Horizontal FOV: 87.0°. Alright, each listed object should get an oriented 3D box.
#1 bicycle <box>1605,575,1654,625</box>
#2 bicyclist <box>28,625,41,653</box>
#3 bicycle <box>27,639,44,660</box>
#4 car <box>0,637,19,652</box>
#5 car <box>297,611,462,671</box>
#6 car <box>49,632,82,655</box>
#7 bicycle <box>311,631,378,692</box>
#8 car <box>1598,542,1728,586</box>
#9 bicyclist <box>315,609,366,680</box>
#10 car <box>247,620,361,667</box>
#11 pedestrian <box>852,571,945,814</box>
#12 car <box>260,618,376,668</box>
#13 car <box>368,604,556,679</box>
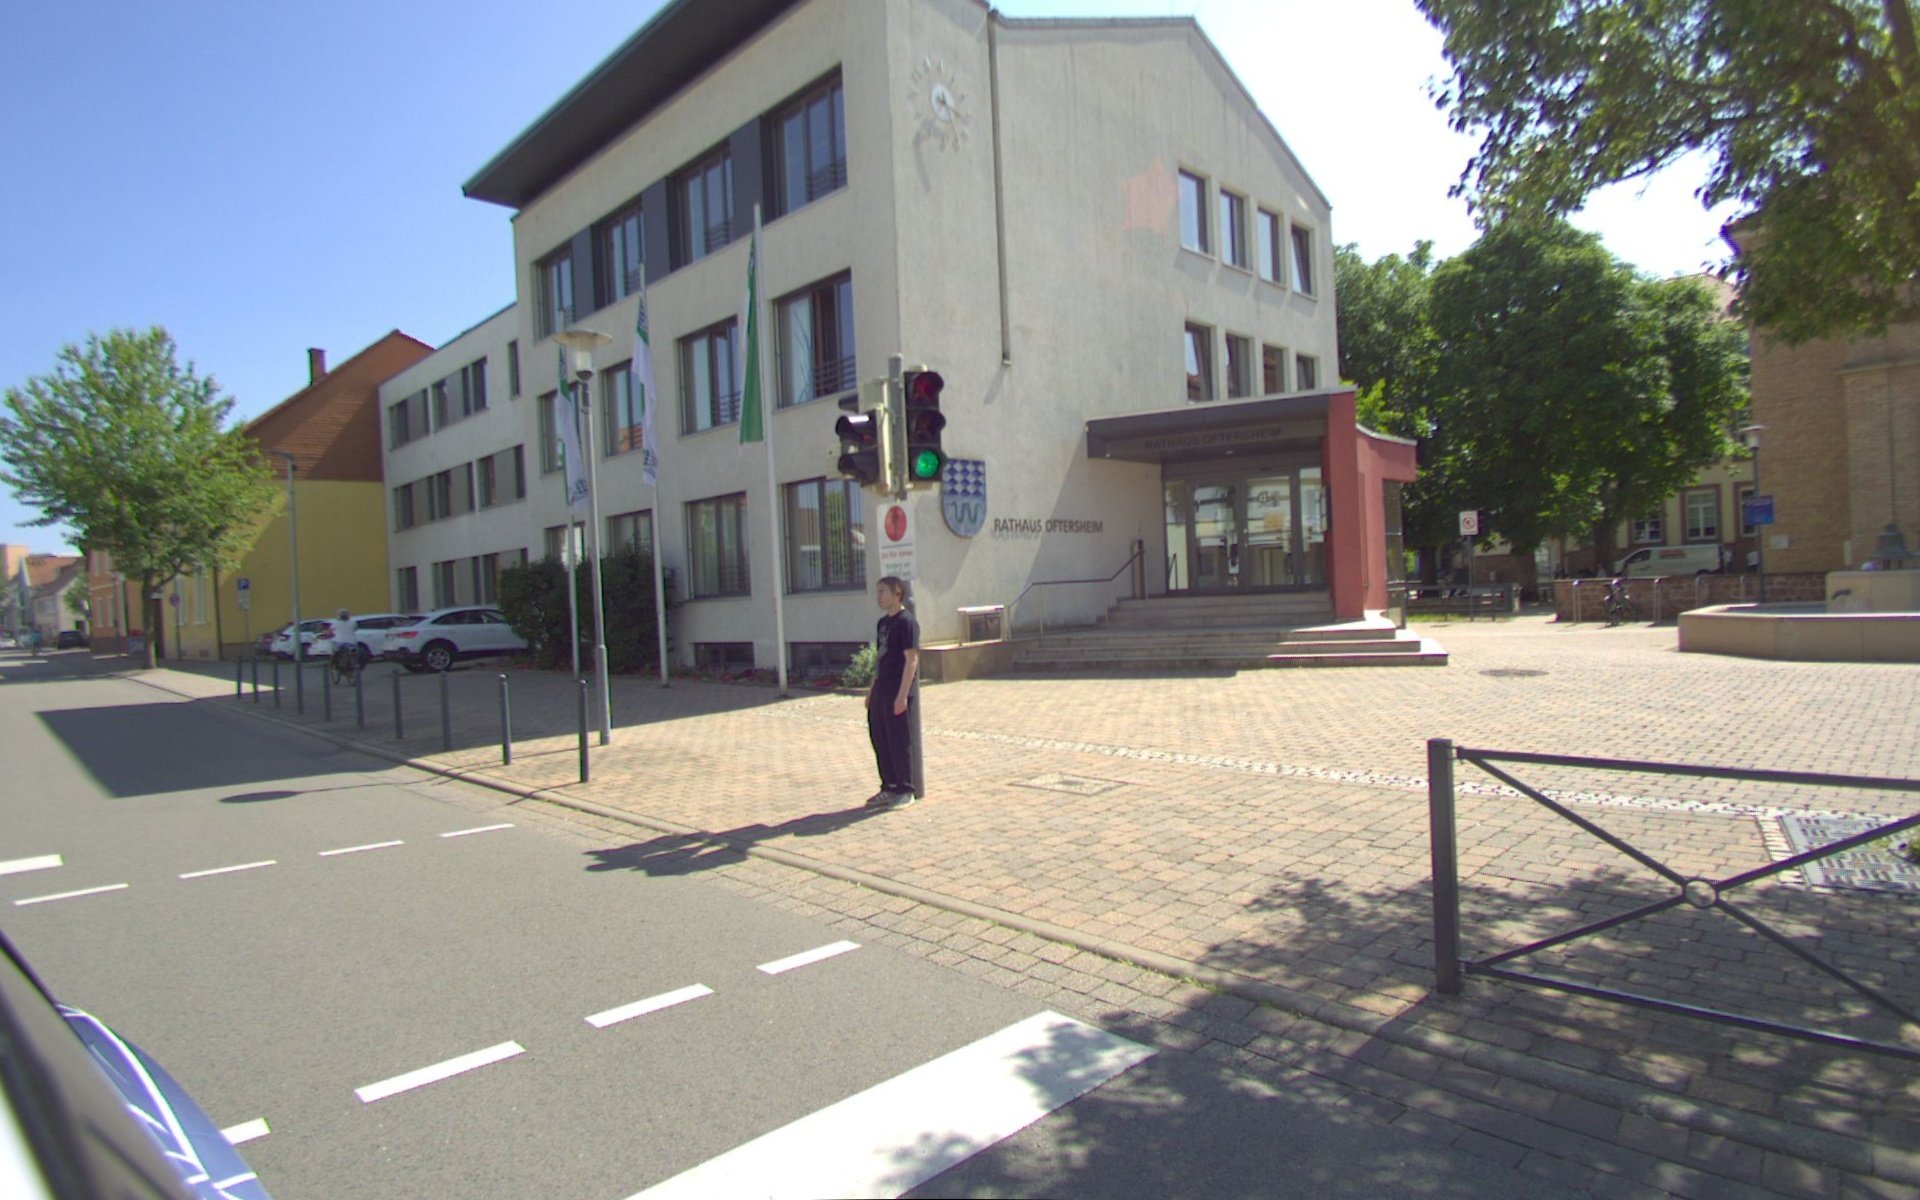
[{"bbox_3d":[15.449,-0.016,23.332,0.581,1.013,1.927,-3,2,43],"label":"bicycle"},{"bbox_3d":[-56.020,2.358,61.270,0.551,1.652,0.531,-3,-1,44],"label":"bicyclist"},{"bbox_3d":[-55.985,2.975,61.273,1.725,1.198,0.586,-2,1,44],"label":"bicycle"},{"bbox_3d":[-115.780,5.444,122.883,4.002,1.719,1.971,-3,0,45],"label":"car"},{"bbox_3d":[-18.420,1.267,32.257,4.264,1.489,1.514,-5,2,-44],"label":"car"},{"bbox_3d":[-75.364,3.646,85.261,4.002,1.829,1.800,-3,0,45],"label":"car"},{"bbox_3d":[-13.640,1.342,22.393,1.972,1.261,0.701,-3,1,43],"label":"bicycle"},{"bbox_3d":[36.205,-1.834,52.191,5.275,1.952,1.973,-3,0,41],"label":"car"},{"bbox_3d":[-13.746,0.980,22.452,0.871,1.518,0.706,-3,0,43],"label":"bicyclist"},{"bbox_3d":[-24.020,1.567,37.128,1.375,1.412,3.214,-3,1,44],"label":"car"},{"bbox_3d":[-0.446,0.626,7.189,0.541,1.631,0.558,-2,1,-10],"label":"pedestrian"},{"bbox_3d":[-22.506,1.485,35.516,3.095,1.461,1.644,-5,1,-44],"label":"car"},{"bbox_3d":[-12.804,1.033,26.182,1.749,1.559,3.943,-3,1,44],"label":"car"}]
